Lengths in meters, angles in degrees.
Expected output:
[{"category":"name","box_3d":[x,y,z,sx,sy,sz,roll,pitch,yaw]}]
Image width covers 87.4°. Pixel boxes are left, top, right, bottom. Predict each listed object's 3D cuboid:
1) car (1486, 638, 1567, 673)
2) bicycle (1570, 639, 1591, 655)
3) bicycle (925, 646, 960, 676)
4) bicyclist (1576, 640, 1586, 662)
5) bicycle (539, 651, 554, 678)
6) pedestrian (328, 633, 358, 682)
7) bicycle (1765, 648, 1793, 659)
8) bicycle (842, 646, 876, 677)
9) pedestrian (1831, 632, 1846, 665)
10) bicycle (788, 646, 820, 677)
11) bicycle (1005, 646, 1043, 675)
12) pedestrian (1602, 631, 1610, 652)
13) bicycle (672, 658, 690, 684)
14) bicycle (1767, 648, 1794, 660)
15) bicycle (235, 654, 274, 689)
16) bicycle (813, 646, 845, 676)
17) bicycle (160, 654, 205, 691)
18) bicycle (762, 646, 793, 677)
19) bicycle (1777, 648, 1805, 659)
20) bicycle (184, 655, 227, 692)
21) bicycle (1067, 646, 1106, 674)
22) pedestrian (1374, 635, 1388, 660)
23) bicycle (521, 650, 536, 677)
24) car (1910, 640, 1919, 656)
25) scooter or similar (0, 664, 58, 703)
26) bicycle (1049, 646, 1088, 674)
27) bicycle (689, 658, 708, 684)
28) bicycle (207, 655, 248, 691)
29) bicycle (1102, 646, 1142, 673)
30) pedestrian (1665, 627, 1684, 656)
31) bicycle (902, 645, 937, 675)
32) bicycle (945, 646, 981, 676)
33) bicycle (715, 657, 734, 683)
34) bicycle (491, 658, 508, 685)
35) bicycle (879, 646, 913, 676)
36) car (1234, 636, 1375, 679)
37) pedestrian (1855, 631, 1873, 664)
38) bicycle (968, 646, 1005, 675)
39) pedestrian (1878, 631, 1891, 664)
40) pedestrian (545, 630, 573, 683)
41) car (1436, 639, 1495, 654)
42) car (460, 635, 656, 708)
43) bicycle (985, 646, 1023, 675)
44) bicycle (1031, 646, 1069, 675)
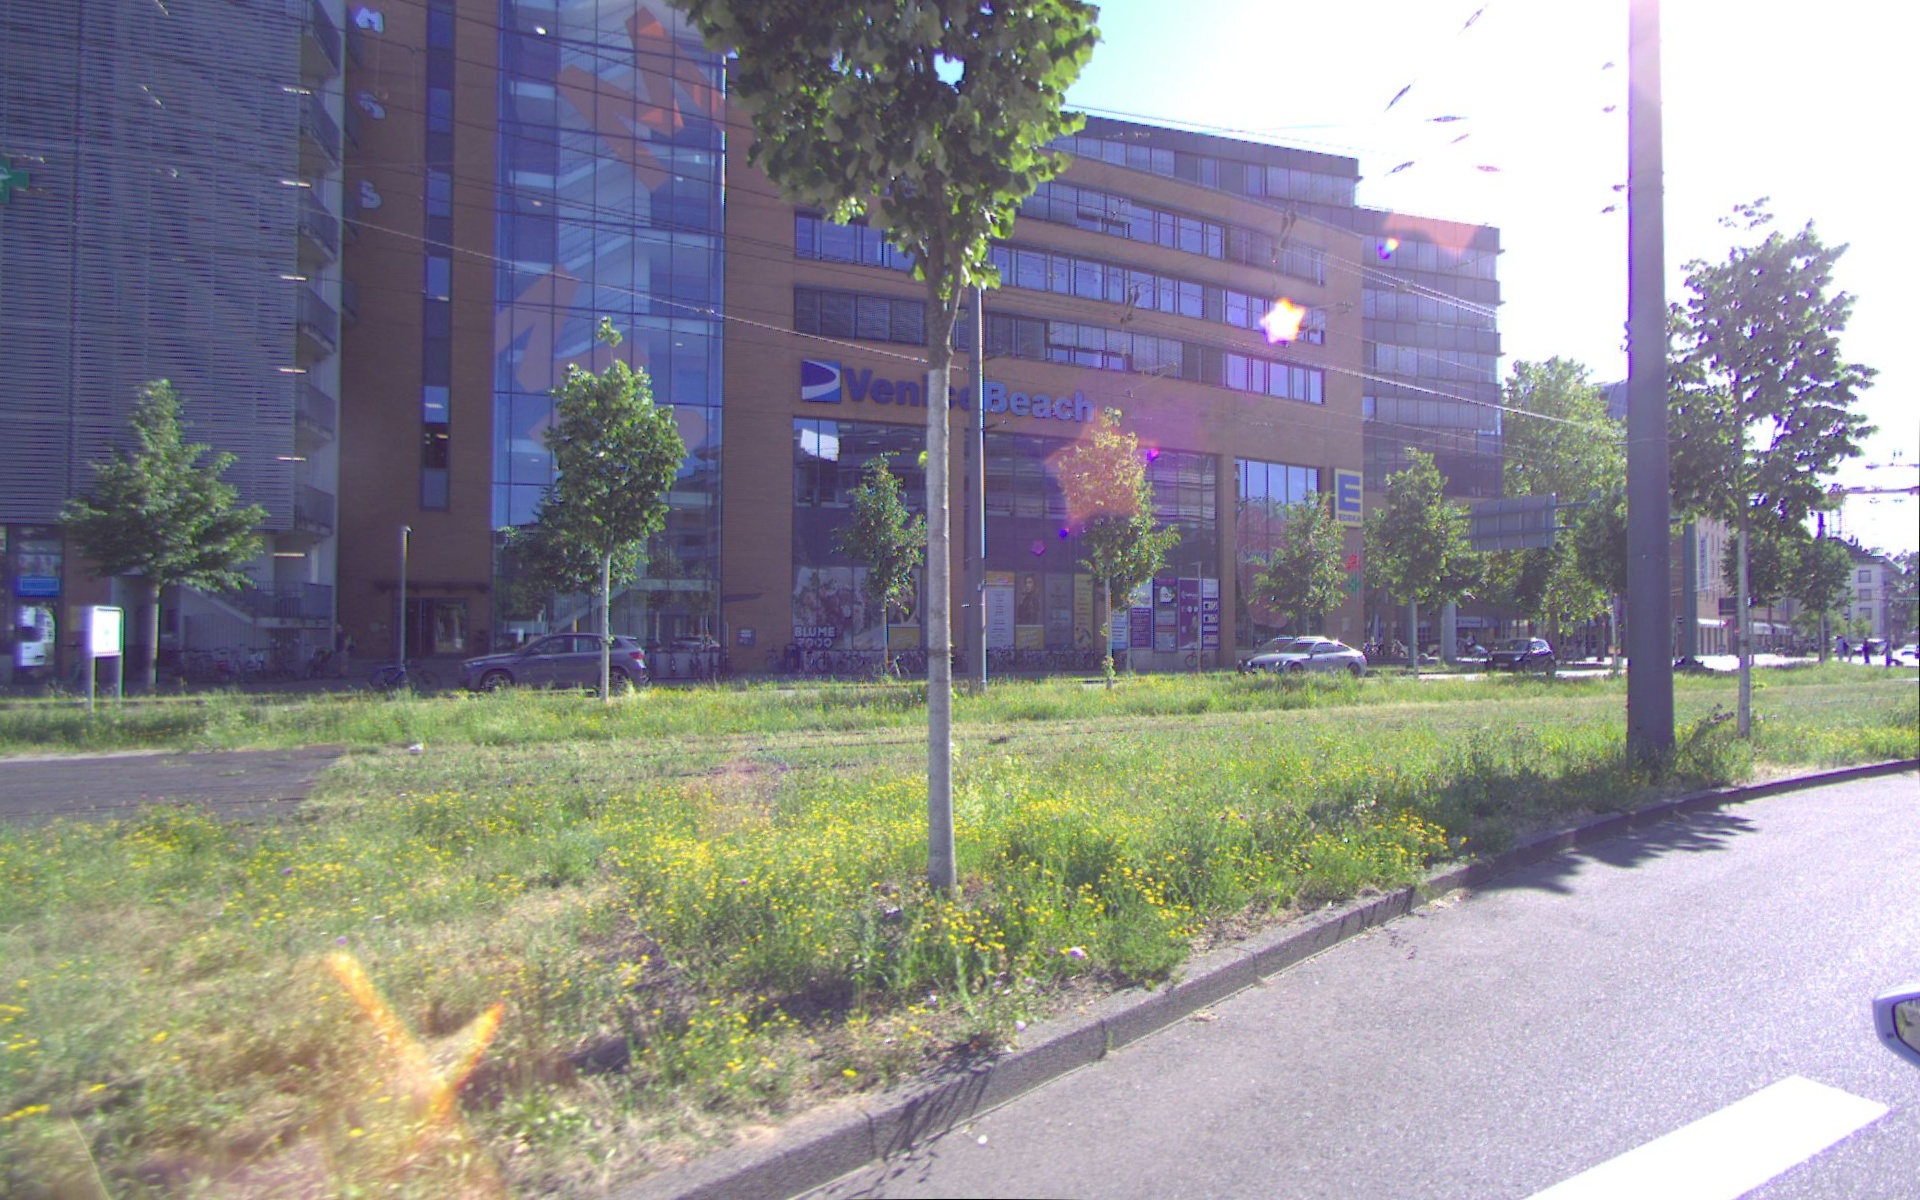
[{"category":"car","box_3d":[23.265,2.239,41.235,3.257,1.377,1.422,1,-2,-30]},{"category":"bicycle","box_3d":[38.303,2.912,62.031,1.876,0.938,0.351,3,-3,-34]},{"category":"bicycle","box_3d":[-0.749,2.524,42.016,0.742,1.138,2.168,1,-1,-23]},{"category":"bicyclist","box_3d":[38.364,3.152,62.069,0.477,1.395,0.338,3,-3,-34]},{"category":"bicycle","box_3d":[-14.068,2.189,34.147,0.439,0.830,1.443,1,-1,-23]},{"category":"pedestrian","box_3d":[-20.239,1.873,32.949,0.650,1.574,0.636,0,-2,-11]},{"category":"bicycle","box_3d":[99.615,6.523,122.155,0.726,1.327,2.469,1,-2,-34]},{"category":"bicycle","box_3d":[-4.097,2.465,40.606,0.742,1.138,2.168,1,-1,-23]},{"category":"pedestrian","box_3d":[49.857,2.754,56.986,0.452,1.855,0.459,-1,-2,20]},{"category":"bicycle","box_3d":[-6.269,2.451,40.270,0.742,1.138,2.168,1,-1,-23]},{"category":"bicycle","box_3d":[2.724,2.580,42.860,0.742,1.138,2.168,1,-1,-23]},{"category":"pedestrian","box_3d":[61.514,3.968,95.628,0.517,1.957,0.747,-2,-3,45]},{"category":"bicycle","box_3d":[-9.785,2.491,35.240,0.439,0.830,1.443,1,-1,-23]},{"category":"bicycle","box_3d":[98.912,6.485,121.125,0.726,1.327,2.469,1,-2,-34]},{"category":"bicycle","box_3d":[-21.318,2.140,30.370,0.486,0.967,2.168,1,-1,-23]},{"category":"bicycle","box_3d":[-5.317,2.451,40.743,0.742,1.138,2.168,1,-1,-23]},{"category":"bicycle","box_3d":[-22.937,2.127,29.668,0.486,0.967,2.168,1,-1,-23]},{"category":"bicycle","box_3d":[-7.271,2.413,39.933,0.742,1.138,2.168,1,-1,-23]},{"category":"bicycle","box_3d":[101.347,6.541,122.526,0.726,1.327,2.469,1,-2,-34]},{"category":"bicycle","box_3d":[-22.436,2.164,29.892,0.486,0.967,2.168,1,-1,-23]},{"category":"bicycle","box_3d":[5.600,2.636,44.479,0.742,1.138,2.168,1,-1,-23]},{"category":"pedestrian","box_3d":[27.923,3.171,66.598,0.779,1.645,0.503,3,-3,-33]},{"category":"bicycle","box_3d":[-14.566,2.143,33.908,0.439,0.830,1.443,1,-1,-23]},{"category":"car","box_3d":[96.411,4.771,100.678,1.594,1.416,3.894,-7,-6,45]},{"category":"scooter or similar","box_3d":[-26.812,2.404,28.945,1.186,1.117,0.276,2,-2,-16]},{"category":"bicycle","box_3d":[4.762,2.612,44.076,0.742,1.138,2.168,1,-1,-23]},{"category":"bicycle","box_3d":[-9.250,2.496,35.490,0.439,0.830,1.443,1,-1,-23]},{"category":"bicycle","box_3d":[-21.917,2.172,30.104,0.486,0.967,2.168,1,-1,-23]},{"category":"bicycle","box_3d":[7.279,2.648,45.113,0.742,1.138,2.168,1,-1,-23]},{"category":"pedestrian","box_3d":[46.055,2.678,64.728,0.616,1.855,0.759,1,-2,-23]},{"category":"bicycle","box_3d":[-1.711,2.486,41.661,0.742,1.138,2.168,1,-1,-23]},{"category":"bicycle","box_3d":[0.113,2.557,42.303,0.742,1.138,2.168,1,-1,-23]},{"category":"bicycle","box_3d":[-8.394,2.490,35.754,0.439,0.830,1.443,1,-1,-23]},{"category":"bicycle","box_3d":[-15.319,2.366,33.424,0.439,0.830,1.443,1,-1,-23]},{"category":"bicycle","box_3d":[-2.662,2.491,41.366,0.742,1.138,2.168,1,-1,-23]},{"category":"car","box_3d":[11.837,1.926,34.463,4.734,1.351,1.984,1,-2,-30]},{"category":"pedestrian","box_3d":[51.249,2.685,56.944,0.571,1.855,0.498,-1,-2,20]},{"category":"bicycle","box_3d":[1.110,2.534,42.428,0.742,1.138,2.168,1,-1,-23]},{"category":"pedestrian","box_3d":[53.440,2.735,58.060,0.379,1.855,0.463,-1,-2,26]},{"category":"pedestrian","box_3d":[-12.972,1.819,32.492,0.769,1.707,0.592,1,-2,-31]},{"category":"car","box_3d":[42.033,3.846,83.625,1.979,1.247,3.964,1,-2,-33]},{"category":"car","box_3d":[-10.220,1.755,25.575,4.480,1.703,1.986,1,-2,-28]},{"category":"bicycle","box_3d":[1.853,2.566,42.749,0.742,1.138,2.168,1,-1,-23]},{"category":"bicycle","box_3d":[3.910,2.619,43.768,0.742,1.138,2.168,1,-1,-23]}]
